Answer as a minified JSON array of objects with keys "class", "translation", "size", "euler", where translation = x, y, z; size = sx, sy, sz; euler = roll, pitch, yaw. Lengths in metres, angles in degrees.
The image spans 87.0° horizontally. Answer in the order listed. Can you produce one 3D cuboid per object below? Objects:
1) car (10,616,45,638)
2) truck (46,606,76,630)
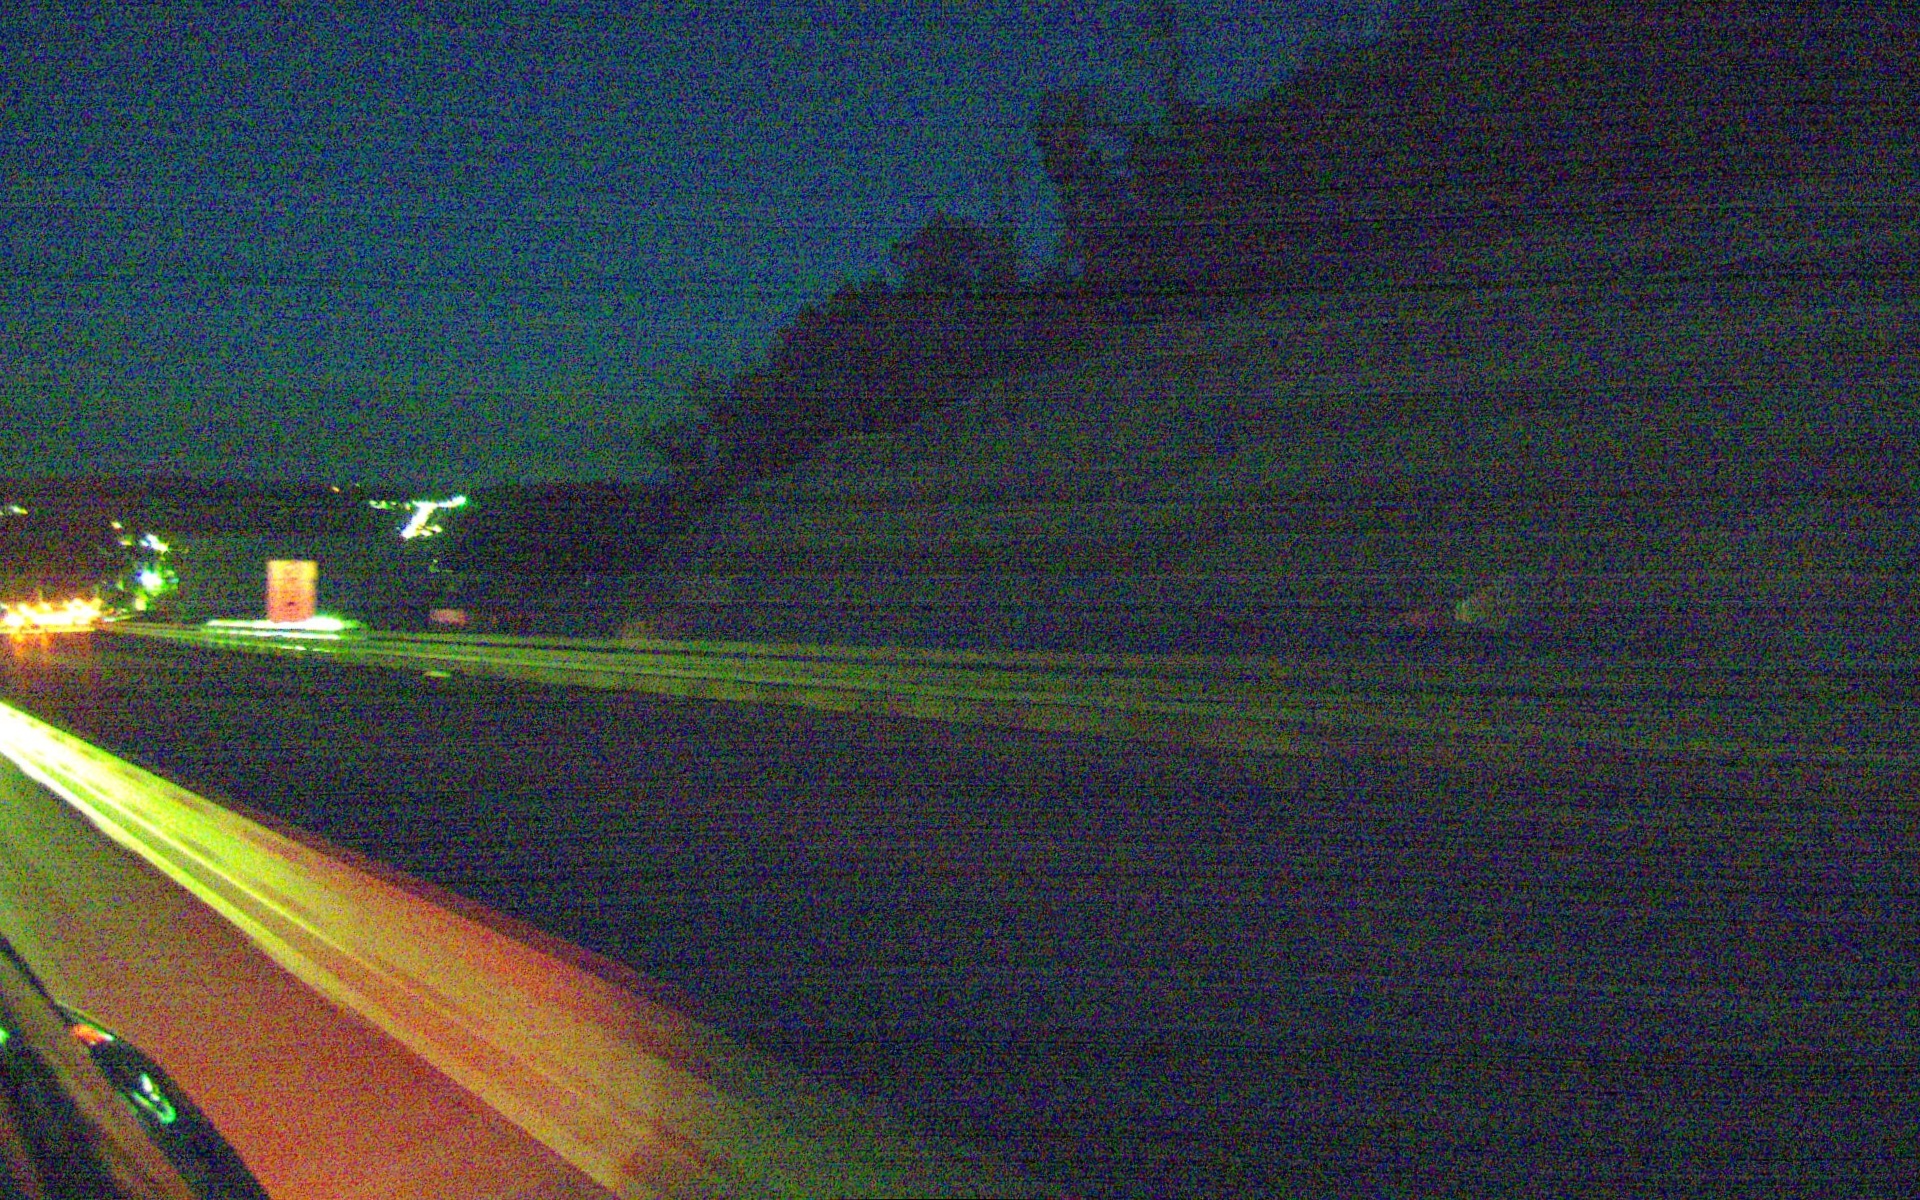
[{"class":"car","translation":[-69.487,2.009,75.422],"size":[1.787,1.529,3.937],"euler":[0,-2,-45]},{"class":"truck","translation":[-101.467,2.021,114.256],"size":[2.272,2.493,6.283],"euler":[0,1,-40]}]
